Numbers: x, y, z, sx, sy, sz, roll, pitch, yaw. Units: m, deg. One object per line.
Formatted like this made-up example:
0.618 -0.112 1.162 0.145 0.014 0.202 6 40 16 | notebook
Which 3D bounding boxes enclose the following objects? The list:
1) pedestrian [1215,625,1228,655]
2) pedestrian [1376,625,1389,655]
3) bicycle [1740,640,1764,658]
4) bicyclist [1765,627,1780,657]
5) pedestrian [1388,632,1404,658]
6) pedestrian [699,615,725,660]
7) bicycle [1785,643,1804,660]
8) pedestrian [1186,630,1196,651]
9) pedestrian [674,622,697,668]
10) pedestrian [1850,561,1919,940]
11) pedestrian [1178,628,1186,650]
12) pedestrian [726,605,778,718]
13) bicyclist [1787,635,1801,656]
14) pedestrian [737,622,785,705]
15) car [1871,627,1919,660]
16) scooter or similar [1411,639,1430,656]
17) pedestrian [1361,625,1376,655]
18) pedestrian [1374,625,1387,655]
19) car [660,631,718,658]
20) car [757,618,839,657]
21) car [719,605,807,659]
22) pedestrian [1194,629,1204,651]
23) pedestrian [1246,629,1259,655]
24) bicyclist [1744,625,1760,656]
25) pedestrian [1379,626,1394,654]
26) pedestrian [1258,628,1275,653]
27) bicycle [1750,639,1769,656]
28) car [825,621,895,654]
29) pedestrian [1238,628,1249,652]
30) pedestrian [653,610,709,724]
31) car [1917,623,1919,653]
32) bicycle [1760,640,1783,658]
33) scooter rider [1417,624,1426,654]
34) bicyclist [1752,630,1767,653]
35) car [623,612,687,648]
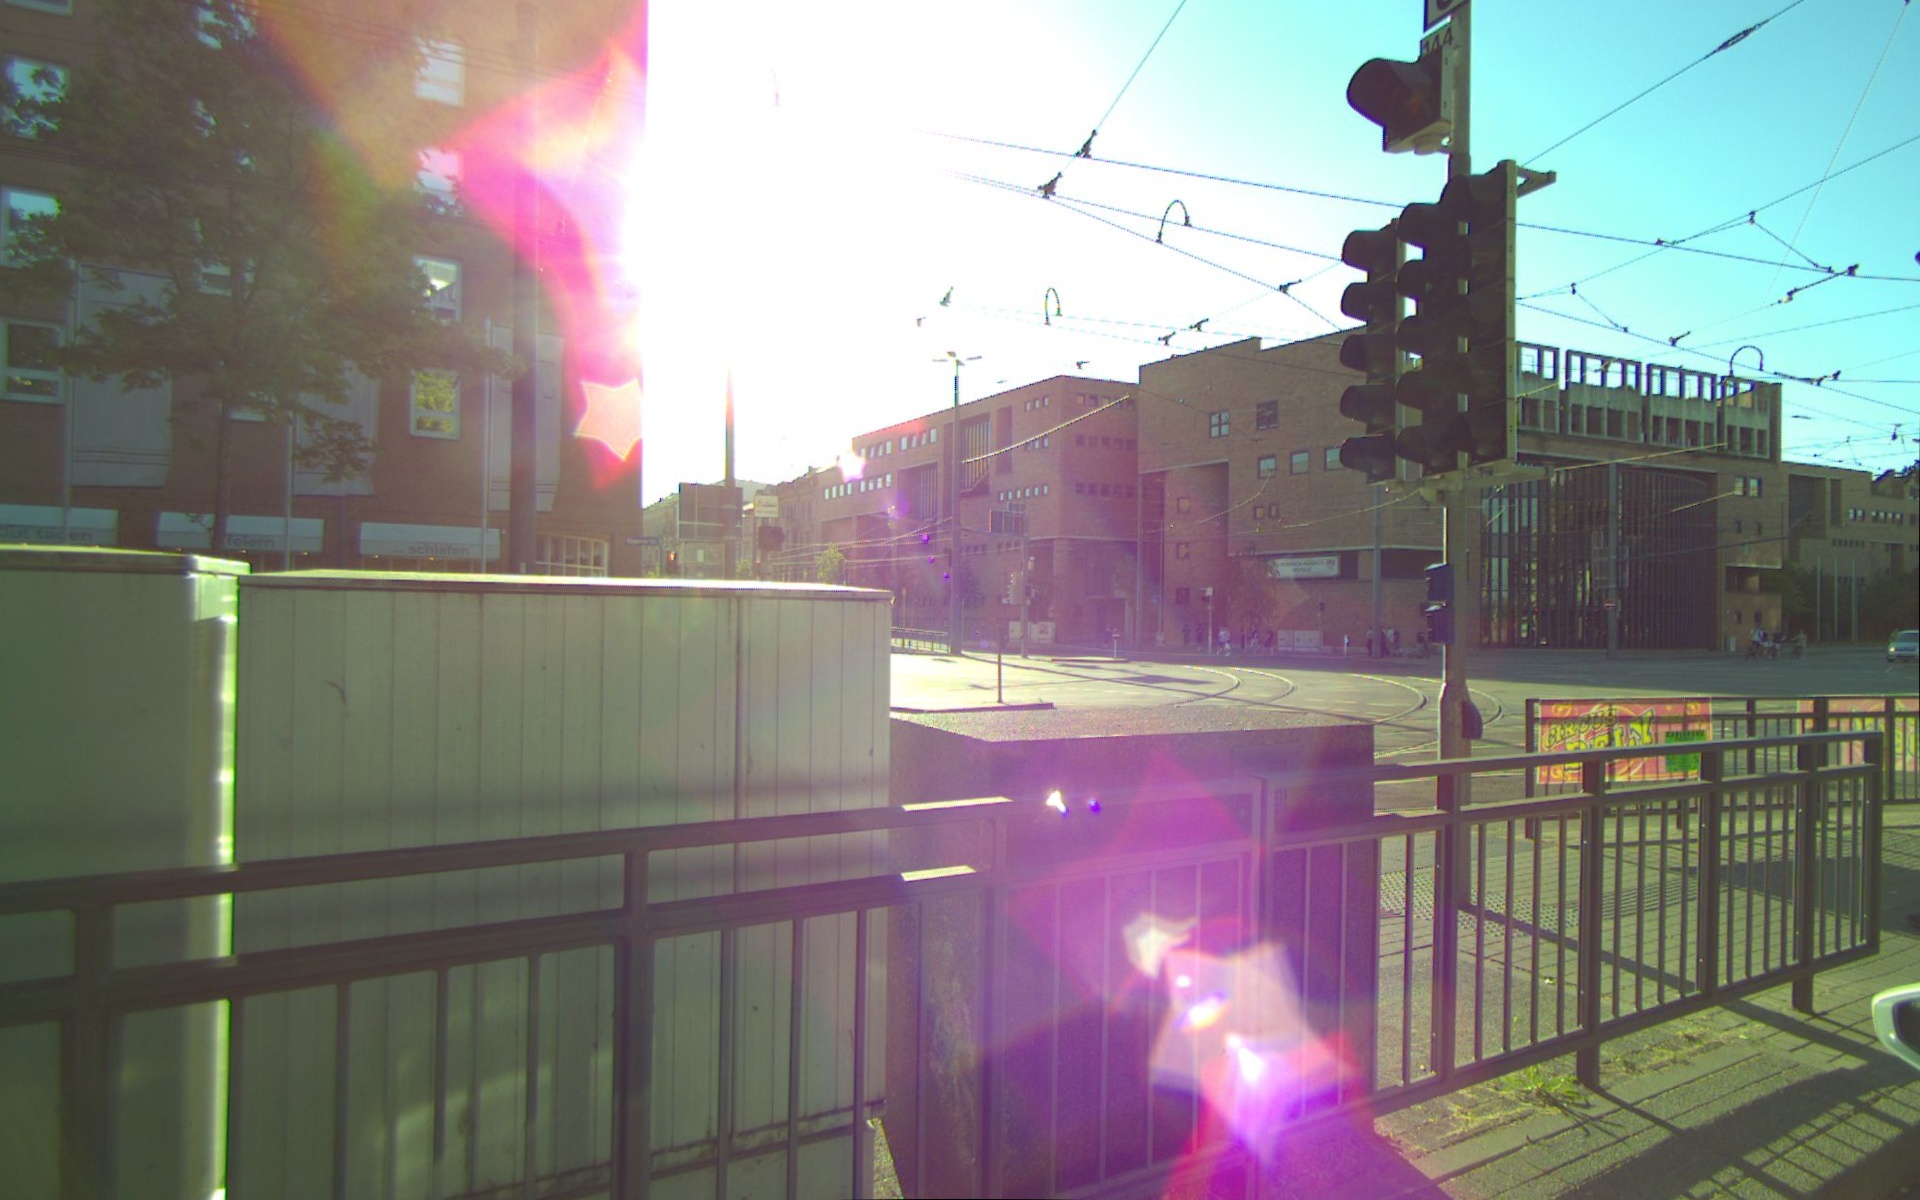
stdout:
14.472 2.205 55.637 0.539 1.670 0.600 0 -1 -6 | pedestrian
24.527 2.321 58.330 0.570 1.706 0.542 2 -2 -44 | pedestrian
44.443 2.736 56.347 1.568 0.976 0.539 1 -1 -30 | bicycle
45.046 2.314 55.705 0.574 1.624 0.456 1 -1 -30 | bicyclist
25.021 2.583 57.651 0.637 1.440 0.592 1 -1 -41 | pedestrian
-11.577 1.728 46.861 0.856 2.040 0.880 2 0 -39 | pedestrian
49.345 3.025 59.400 1.332 0.976 0.449 1 -1 -30 | bicycle
15.647 2.754 68.081 0.562 1.428 0.554 0 -1 4 | pedestrian
-10.016 1.640 36.633 0.658 1.669 0.638 1 -1 -34 | pedestrian
5.068 0.713 4.737 1.071 1.772 0.743 1 0 17 | pedestrian
15.063 2.635 68.261 0.523 1.482 0.591 0 -1 14 | pedestrian
-3.541 1.034 17.097 0.647 1.864 0.835 1 -1 -28 | pedestrian
49.399 2.688 59.501 0.574 1.194 0.503 1 -1 -30 | bicyclist
-4.147 1.300 20.940 0.709 1.669 0.953 1 -1 -30 | pedestrian
48.986 2.223 51.780 3.954 1.661 1.983 1 -2 -31 | car
25.381 2.638 55.375 0.931 0.911 0.176 0 -1 14 | scooter or similar
23.654 2.310 58.178 0.646 1.706 0.614 1 -2 -43 | pedestrian
23.815 2.263 56.861 0.543 1.706 0.589 -1 -2 40 | pedestrian
-14.564 2.375 53.873 1.729 1.372 3.960 1 -2 -36 | car
-8.401 1.909 51.783 1.982 1.928 5.156 1 -2 -38 | car
-9.469 1.517 47.977 1.982 2.419 5.156 1 -2 -38 | car
16.187 2.709 68.106 0.549 1.445 0.556 0 -1 0 | pedestrian
16.625 2.394 57.102 0.602 1.473 0.570 0 -1 -1 | pedestrian
44.459 2.258 56.369 0.574 1.754 0.534 1 -1 -30 | bicyclist
25.009 2.356 58.933 0.609 1.647 0.610 1 -2 -45 | pedestrian
16.800 2.222 55.059 0.669 1.357 0.603 1 -1 -10 | pedestrian
46.712 2.764 58.675 1.304 0.976 0.465 1 -1 -30 | bicycle
-5.302 1.960 52.993 1.980 1.572 3.961 2 0 -35 | car
18.519 2.625 65.634 0.488 1.526 0.543 1 -2 -43 | pedestrian
-4.671 1.089 16.787 0.713 1.837 0.904 1 -1 -28 | pedestrian
55.256 2.111 55.894 3.954 1.661 1.983 1 -2 -31 | car
44.949 2.722 55.651 1.557 0.976 0.470 1 -1 -30 | bicycle
25.434 2.161 55.388 0.429 1.669 0.229 0 -1 15 | scooter rider
46.689 2.420 58.671 0.574 1.321 0.503 1 -1 -30 | bicyclist
-18.533 1.795 60.871 1.982 2.122 5.156 1 -2 -38 | car
